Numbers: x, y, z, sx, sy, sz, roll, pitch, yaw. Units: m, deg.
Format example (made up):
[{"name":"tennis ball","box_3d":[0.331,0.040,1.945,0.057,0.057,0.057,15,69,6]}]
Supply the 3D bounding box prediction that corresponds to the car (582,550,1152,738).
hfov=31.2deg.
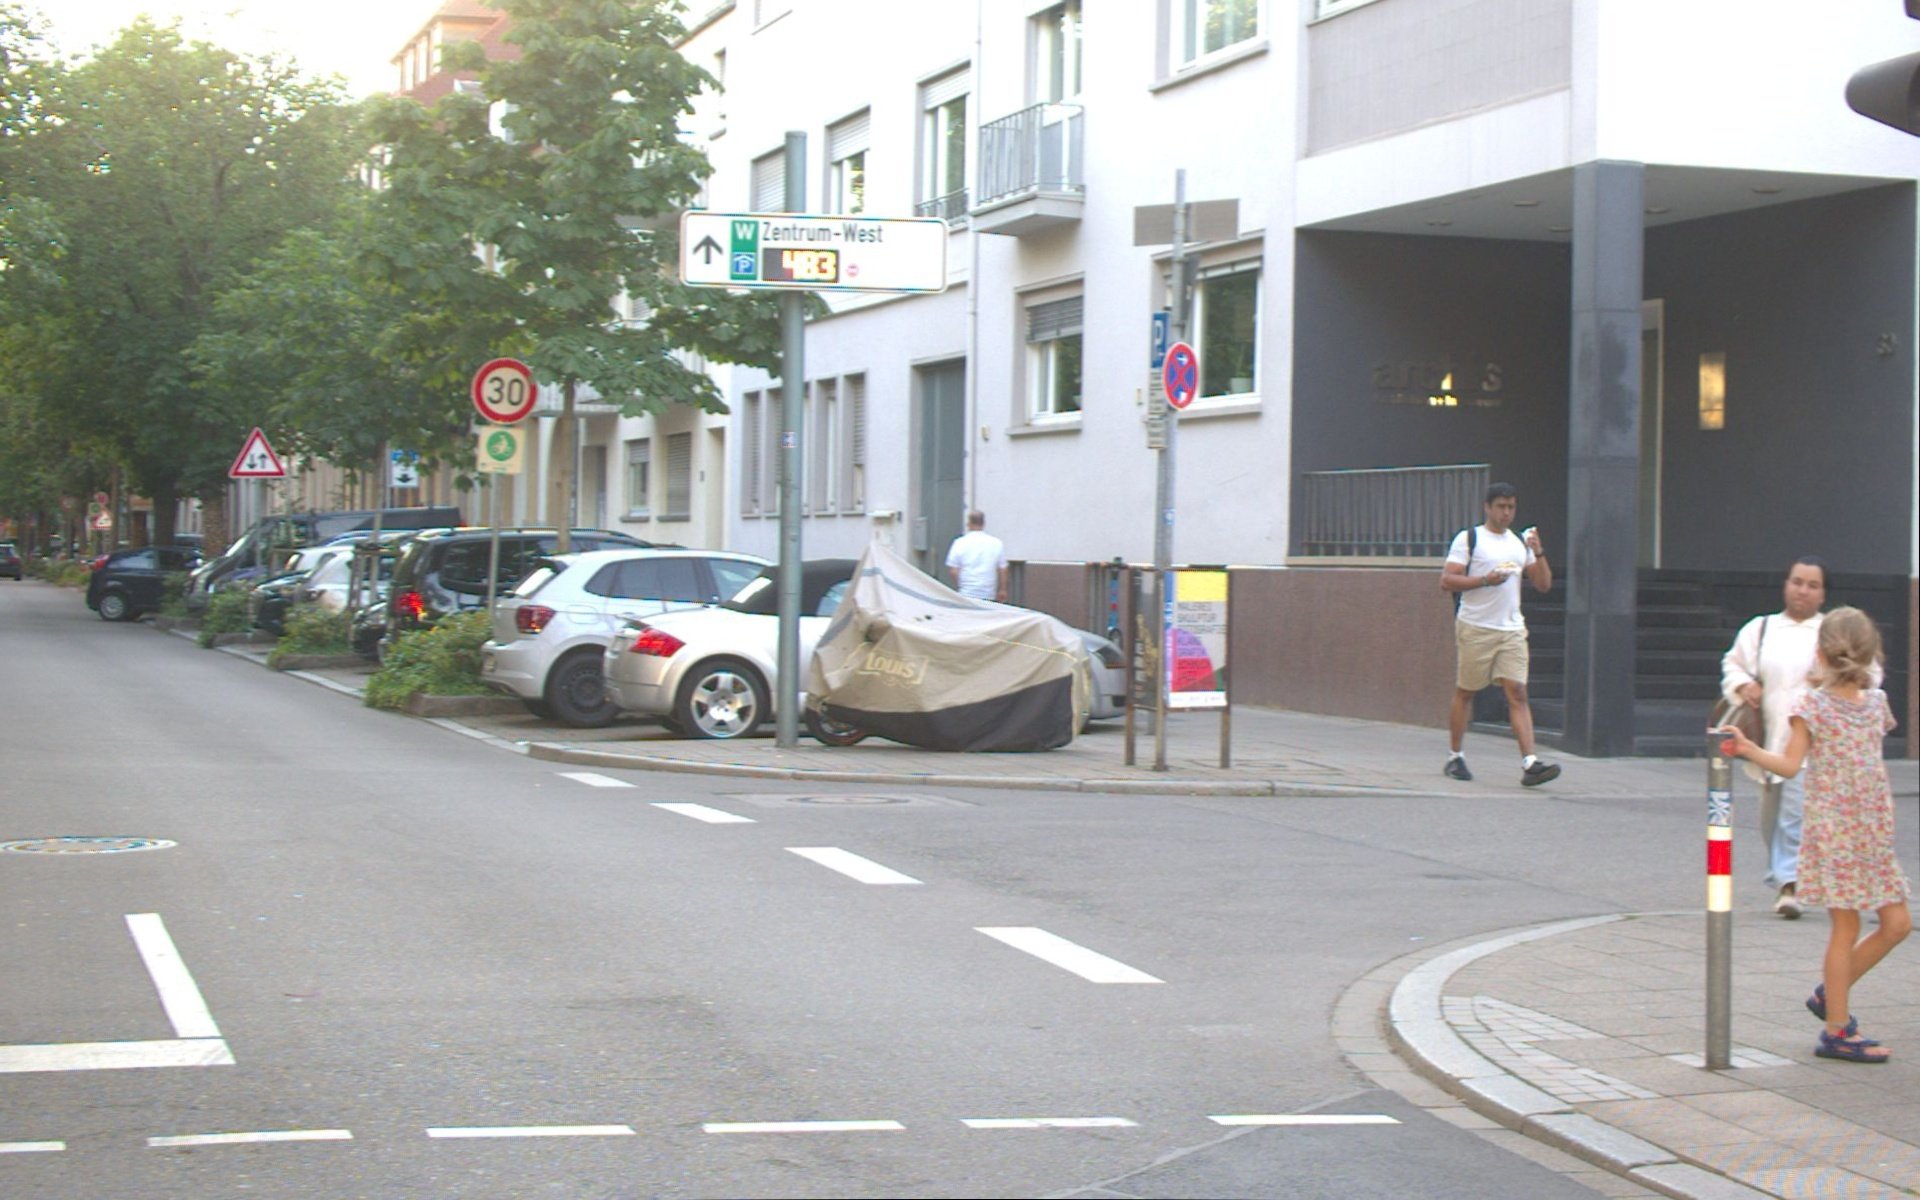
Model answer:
[{"name":"car","box_3d":[-0.731,0.316,26.082,4.013,1.338,1.707,0,1,-15]}]

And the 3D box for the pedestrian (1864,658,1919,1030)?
[{"name":"pedestrian","box_3d":[3.253,0.753,10.440,0.565,1.117,0.837,-1,2,-26]}]

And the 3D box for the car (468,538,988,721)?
[{"name":"car","box_3d":[-1.942,0.229,28.455,4.013,1.437,1.707,0,1,-16]}]

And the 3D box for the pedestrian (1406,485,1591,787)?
[{"name":"pedestrian","box_3d":[3.360,0.212,21.516,0.766,1.835,0.944,1,1,-15]}]

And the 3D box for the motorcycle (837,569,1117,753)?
[{"name":"motorcycle","box_3d":[0.105,0.402,22.996,1.799,1.195,0.613,1,1,-7]}]

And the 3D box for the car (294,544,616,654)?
[{"name":"car","box_3d":[-6.694,-0.018,45.459,4.013,1.404,1.707,0,1,-16]}]

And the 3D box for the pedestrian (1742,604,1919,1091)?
[{"name":"pedestrian","box_3d":[2.542,0.689,9.817,0.505,1.331,0.541,2,1,7]}]

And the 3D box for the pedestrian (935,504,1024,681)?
[{"name":"pedestrian","box_3d":[0.192,-0.082,34.516,0.703,1.746,0.700,1,1,-12]}]

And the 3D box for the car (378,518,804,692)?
[{"name":"car","box_3d":[-3.735,0.044,34.604,4.013,1.684,1.707,0,1,-16]}]

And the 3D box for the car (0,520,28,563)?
[{"name":"car","box_3d":[-36.619,-2.251,131.173,1.824,1.556,4.029,2,0,-17]}]

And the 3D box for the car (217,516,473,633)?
[{"name":"car","box_3d":[-10.277,-0.427,57.406,4.013,1.824,1.707,1,1,-16]}]

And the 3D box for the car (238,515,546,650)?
[{"name":"car","box_3d":[-7.873,-0.240,47.545,4.013,1.809,1.707,0,1,-16]}]

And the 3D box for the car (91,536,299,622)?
[{"name":"car","box_3d":[-15.423,-0.433,69.449,3.977,1.572,1.911,2,0,-10]}]

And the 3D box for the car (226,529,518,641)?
[{"name":"car","box_3d":[-8.622,-0.220,50.304,4.013,1.525,1.707,1,1,-16]}]

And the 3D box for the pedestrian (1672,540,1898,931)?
[{"name":"pedestrian","box_3d":[3.285,0.513,13.663,0.774,1.496,0.801,0,1,21]}]
